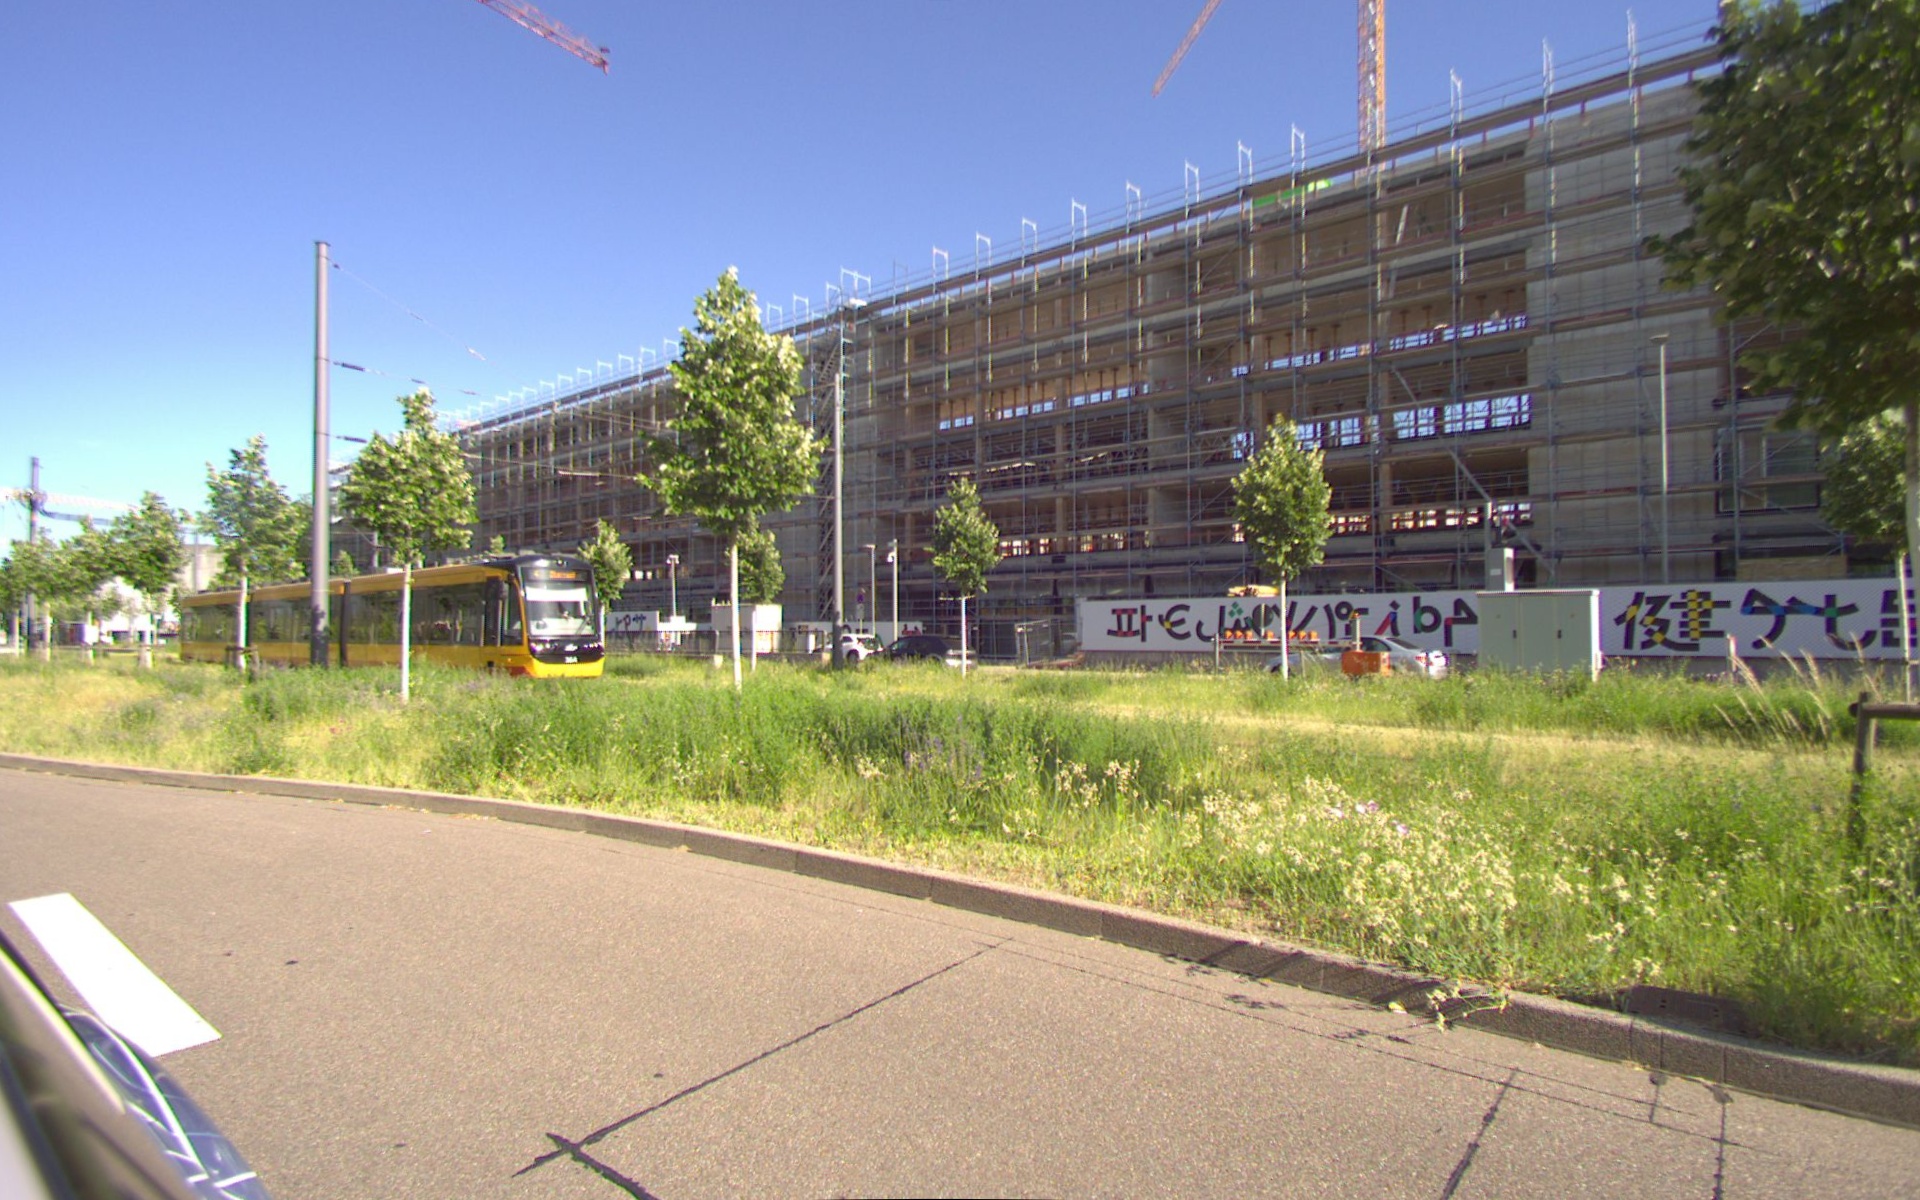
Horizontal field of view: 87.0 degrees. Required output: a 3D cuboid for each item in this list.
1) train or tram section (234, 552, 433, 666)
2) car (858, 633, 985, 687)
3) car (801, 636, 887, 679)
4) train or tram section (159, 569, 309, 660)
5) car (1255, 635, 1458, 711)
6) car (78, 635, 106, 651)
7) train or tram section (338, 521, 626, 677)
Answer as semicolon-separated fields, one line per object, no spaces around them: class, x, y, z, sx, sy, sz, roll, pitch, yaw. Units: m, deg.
train or tram section;-23.673;0.465;37.735;12.784;3.666;2.785;-2;-3;42
car;-1.449;2.132;36.780;4.525;1.806;1.973;-2;-3;41
car;-5.531;2.682;48.142;3.983;1.933;1.889;-2;-2;40
train or tram section;-33.318;0.768;46.112;12.784;3.666;2.785;-2;-3;42
car;10.269;1.836;26.426;4.525;1.806;1.972;-2;-3;42
car;-119.502;5.923;139.343;4.394;2.175;2.308;-2;-2;40
train or tram section;-14.211;0.154;29.133;12.786;3.666;2.785;-2;-3;42
